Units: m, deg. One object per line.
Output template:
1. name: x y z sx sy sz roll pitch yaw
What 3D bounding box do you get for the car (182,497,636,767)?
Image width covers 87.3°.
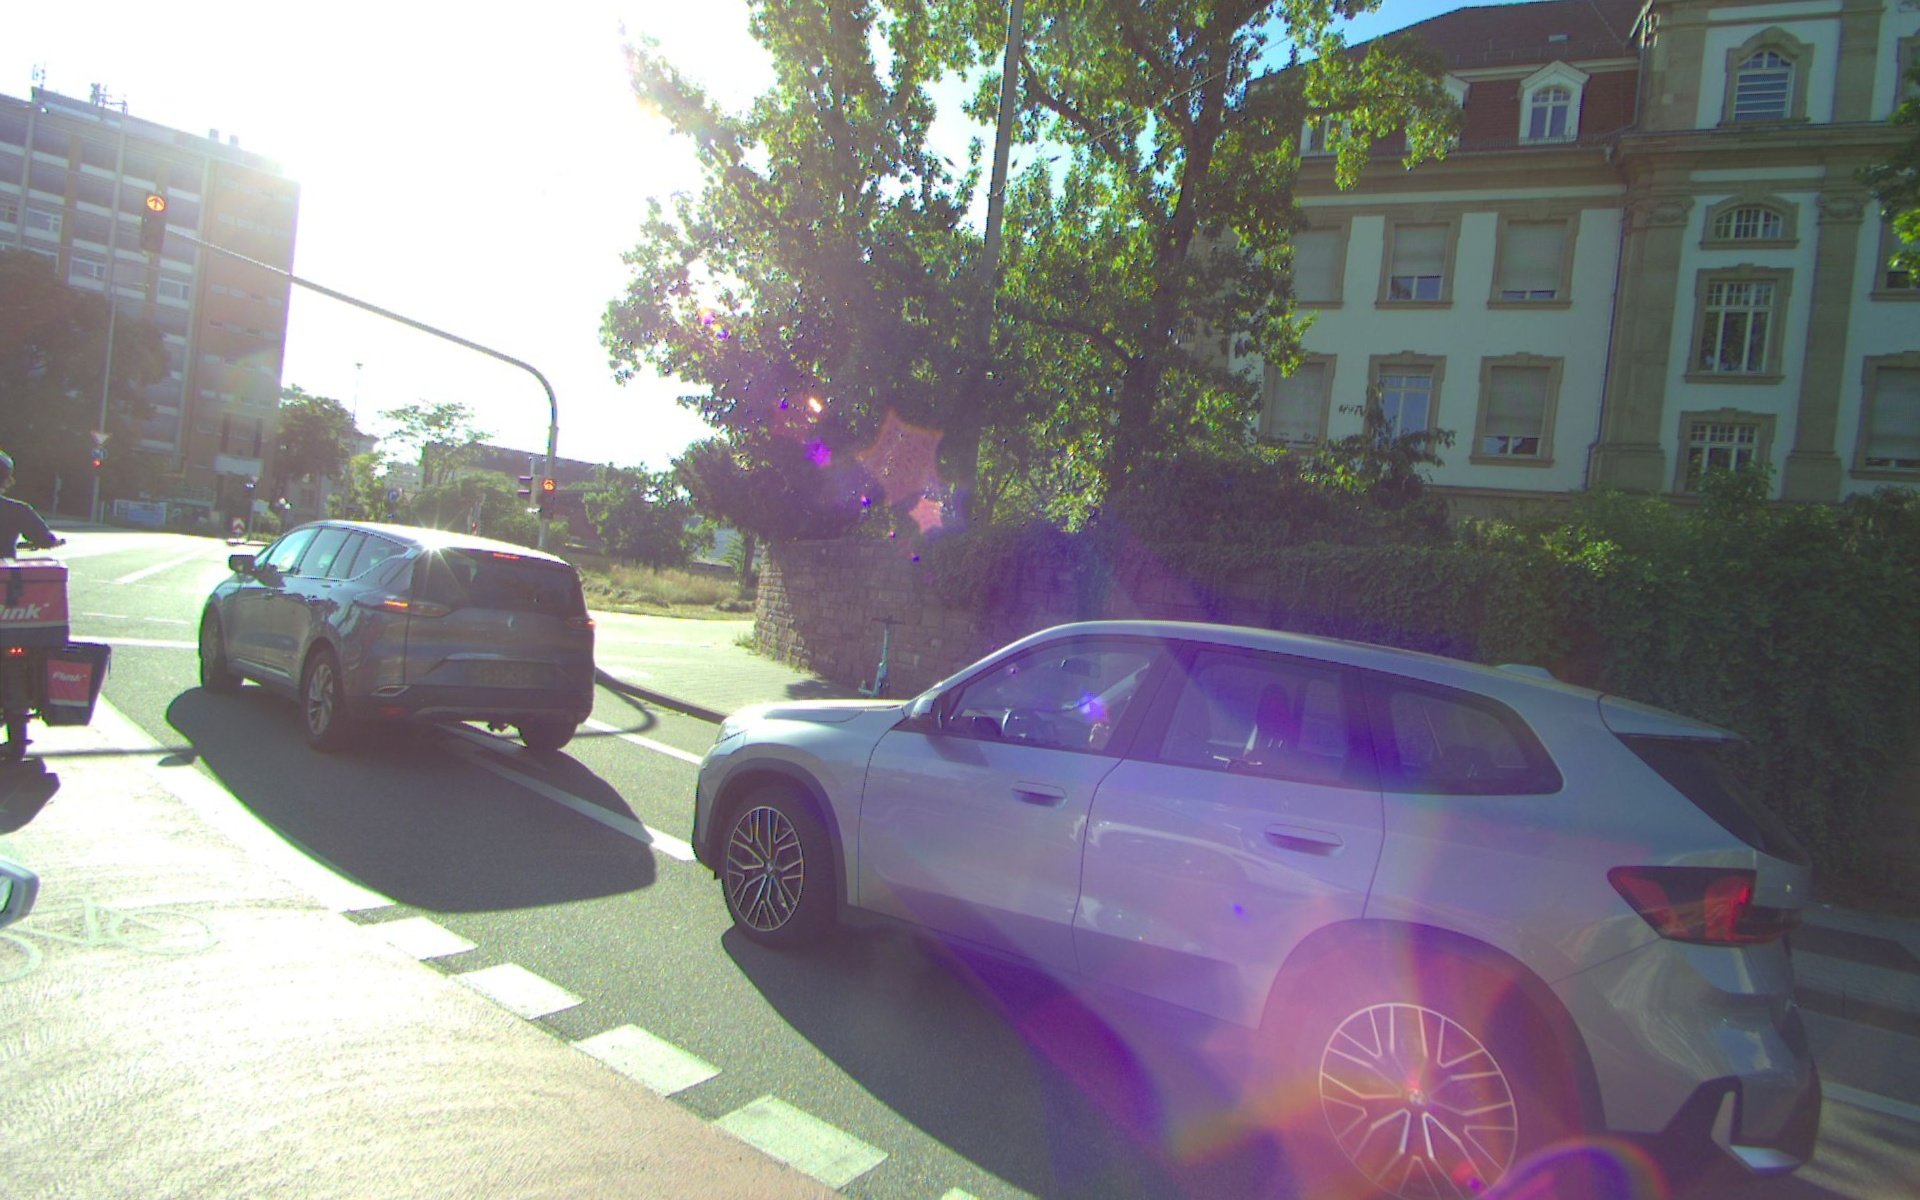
1. car: -4.838 0.164 8.554 4.307 1.709 1.830 6 -2 40

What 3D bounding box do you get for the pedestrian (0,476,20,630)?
1. pedestrian: -8.712 -0.300 8.747 0.585 1.617 1.013 8 -1 -41

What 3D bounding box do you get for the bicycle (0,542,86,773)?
1. bicycle: -5.991 0.257 6.177 2.340 1.185 0.553 6 -2 42

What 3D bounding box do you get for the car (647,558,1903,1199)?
1. car: 0.825 0.883 4.242 4.263 1.612 1.788 6 -2 37

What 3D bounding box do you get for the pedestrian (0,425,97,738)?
1. pedestrian: -6.217 -0.145 6.392 0.943 1.890 0.806 6 -1 40

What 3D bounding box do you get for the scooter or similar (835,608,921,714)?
1. scooter or similar: -1.156 0.820 13.881 0.569 1.285 1.414 6 0 -27

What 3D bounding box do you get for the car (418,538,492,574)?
1. car: -36.911 -3.200 73.593 4.649 1.969 1.902 7 0 -27

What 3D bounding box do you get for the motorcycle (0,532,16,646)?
1. motorcycle: -8.936 -0.081 8.920 0.611 1.110 2.334 8 -2 -41
